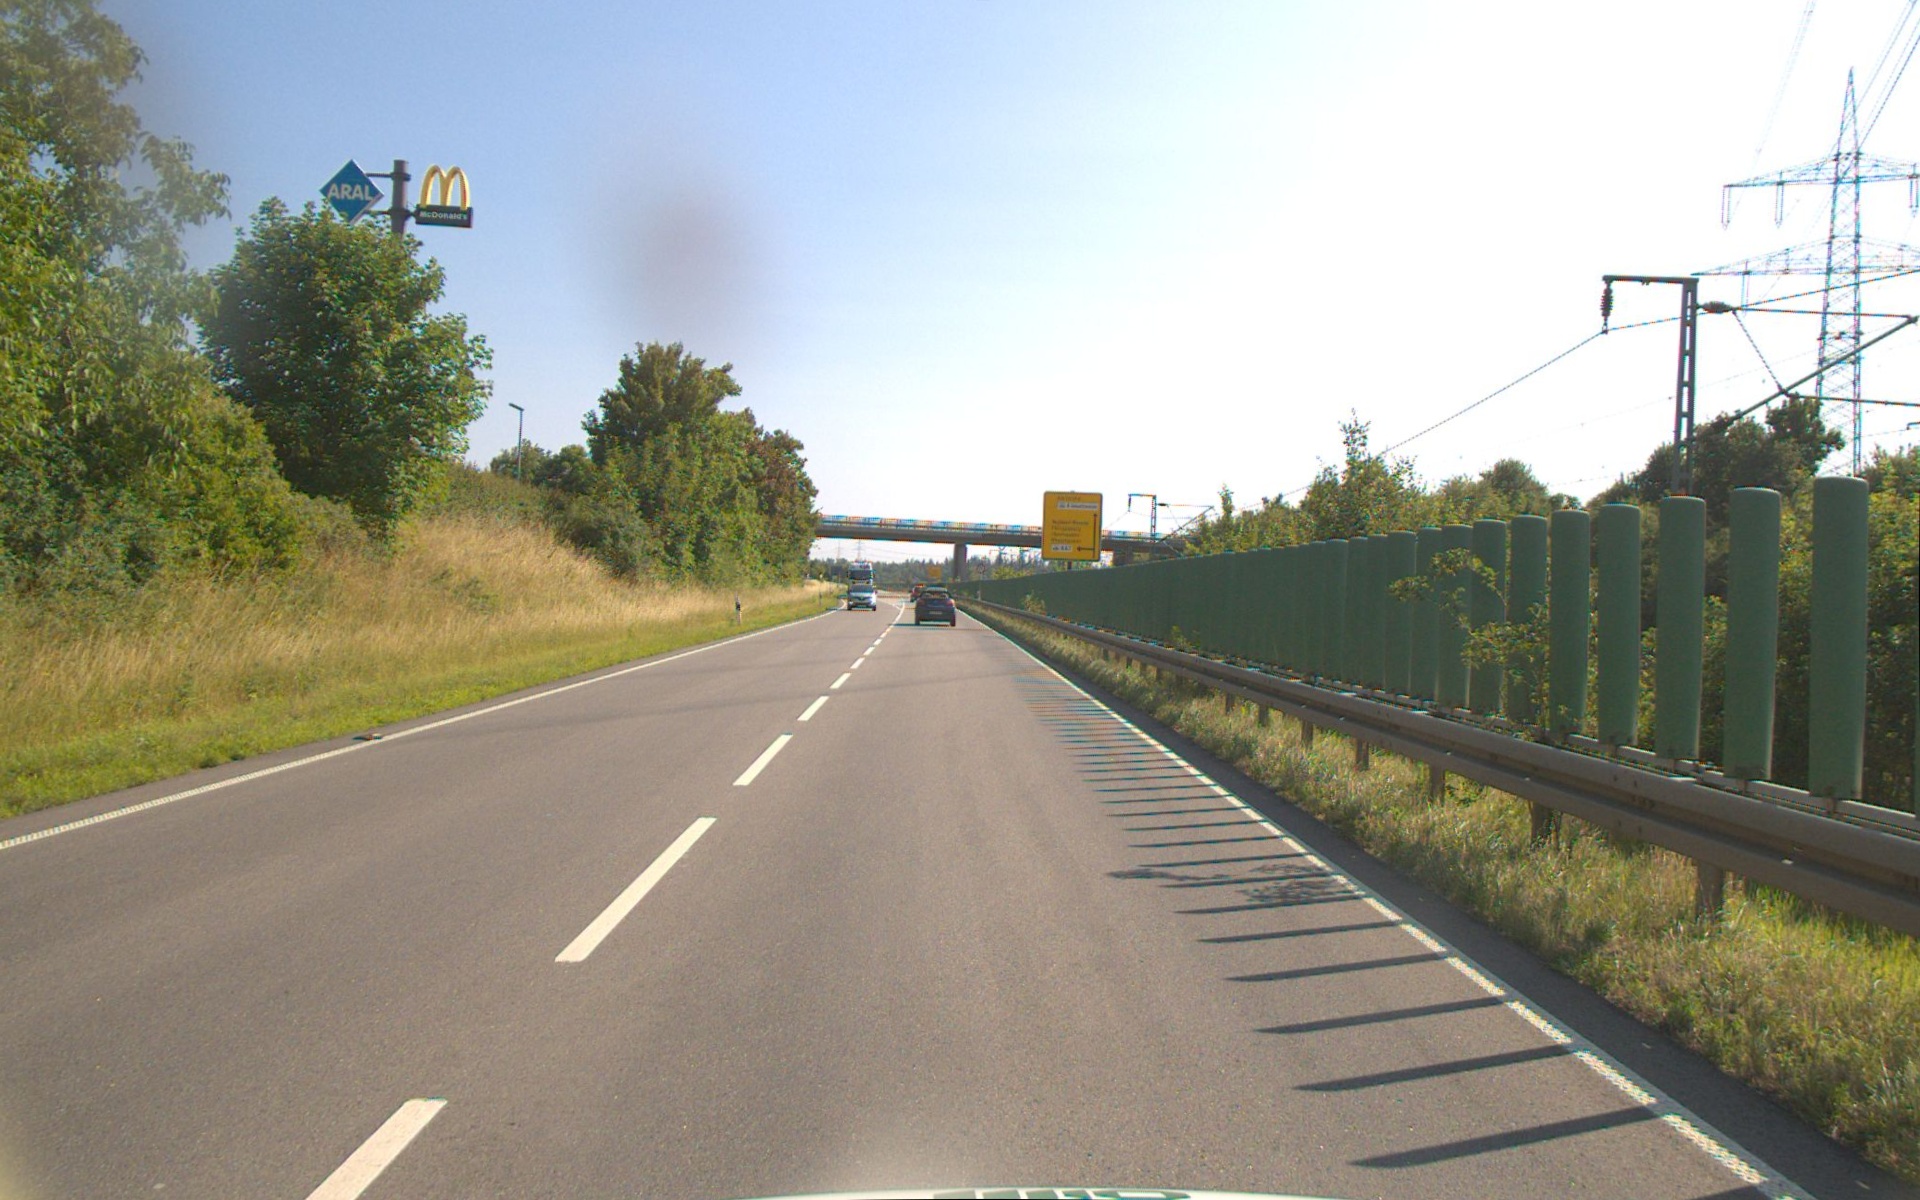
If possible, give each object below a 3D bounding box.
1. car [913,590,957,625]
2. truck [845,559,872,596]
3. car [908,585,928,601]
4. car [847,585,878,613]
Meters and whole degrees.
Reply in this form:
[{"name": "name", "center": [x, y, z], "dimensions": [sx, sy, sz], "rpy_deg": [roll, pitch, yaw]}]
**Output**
[{"name": "car", "center": [-1.006, 0.284, 65.442], "dimensions": [1.630, 1.283, 3.998], "rpy_deg": [1, 0, -2]}, {"name": "truck", "center": [-10.611, -2.320, 173.459], "dimensions": [2.508, 3.753, 10.483], "rpy_deg": [1, 0, -2]}, {"name": "car", "center": [-3.944, -0.678, 154.861], "dimensions": [1.857, 1.443, 3.998], "rpy_deg": [1, 0, -2]}, {"name": "car", "center": [-5.896, -0.050, 100.123], "dimensions": [1.760, 1.621, 3.998], "rpy_deg": [1, 0, -2]}]
